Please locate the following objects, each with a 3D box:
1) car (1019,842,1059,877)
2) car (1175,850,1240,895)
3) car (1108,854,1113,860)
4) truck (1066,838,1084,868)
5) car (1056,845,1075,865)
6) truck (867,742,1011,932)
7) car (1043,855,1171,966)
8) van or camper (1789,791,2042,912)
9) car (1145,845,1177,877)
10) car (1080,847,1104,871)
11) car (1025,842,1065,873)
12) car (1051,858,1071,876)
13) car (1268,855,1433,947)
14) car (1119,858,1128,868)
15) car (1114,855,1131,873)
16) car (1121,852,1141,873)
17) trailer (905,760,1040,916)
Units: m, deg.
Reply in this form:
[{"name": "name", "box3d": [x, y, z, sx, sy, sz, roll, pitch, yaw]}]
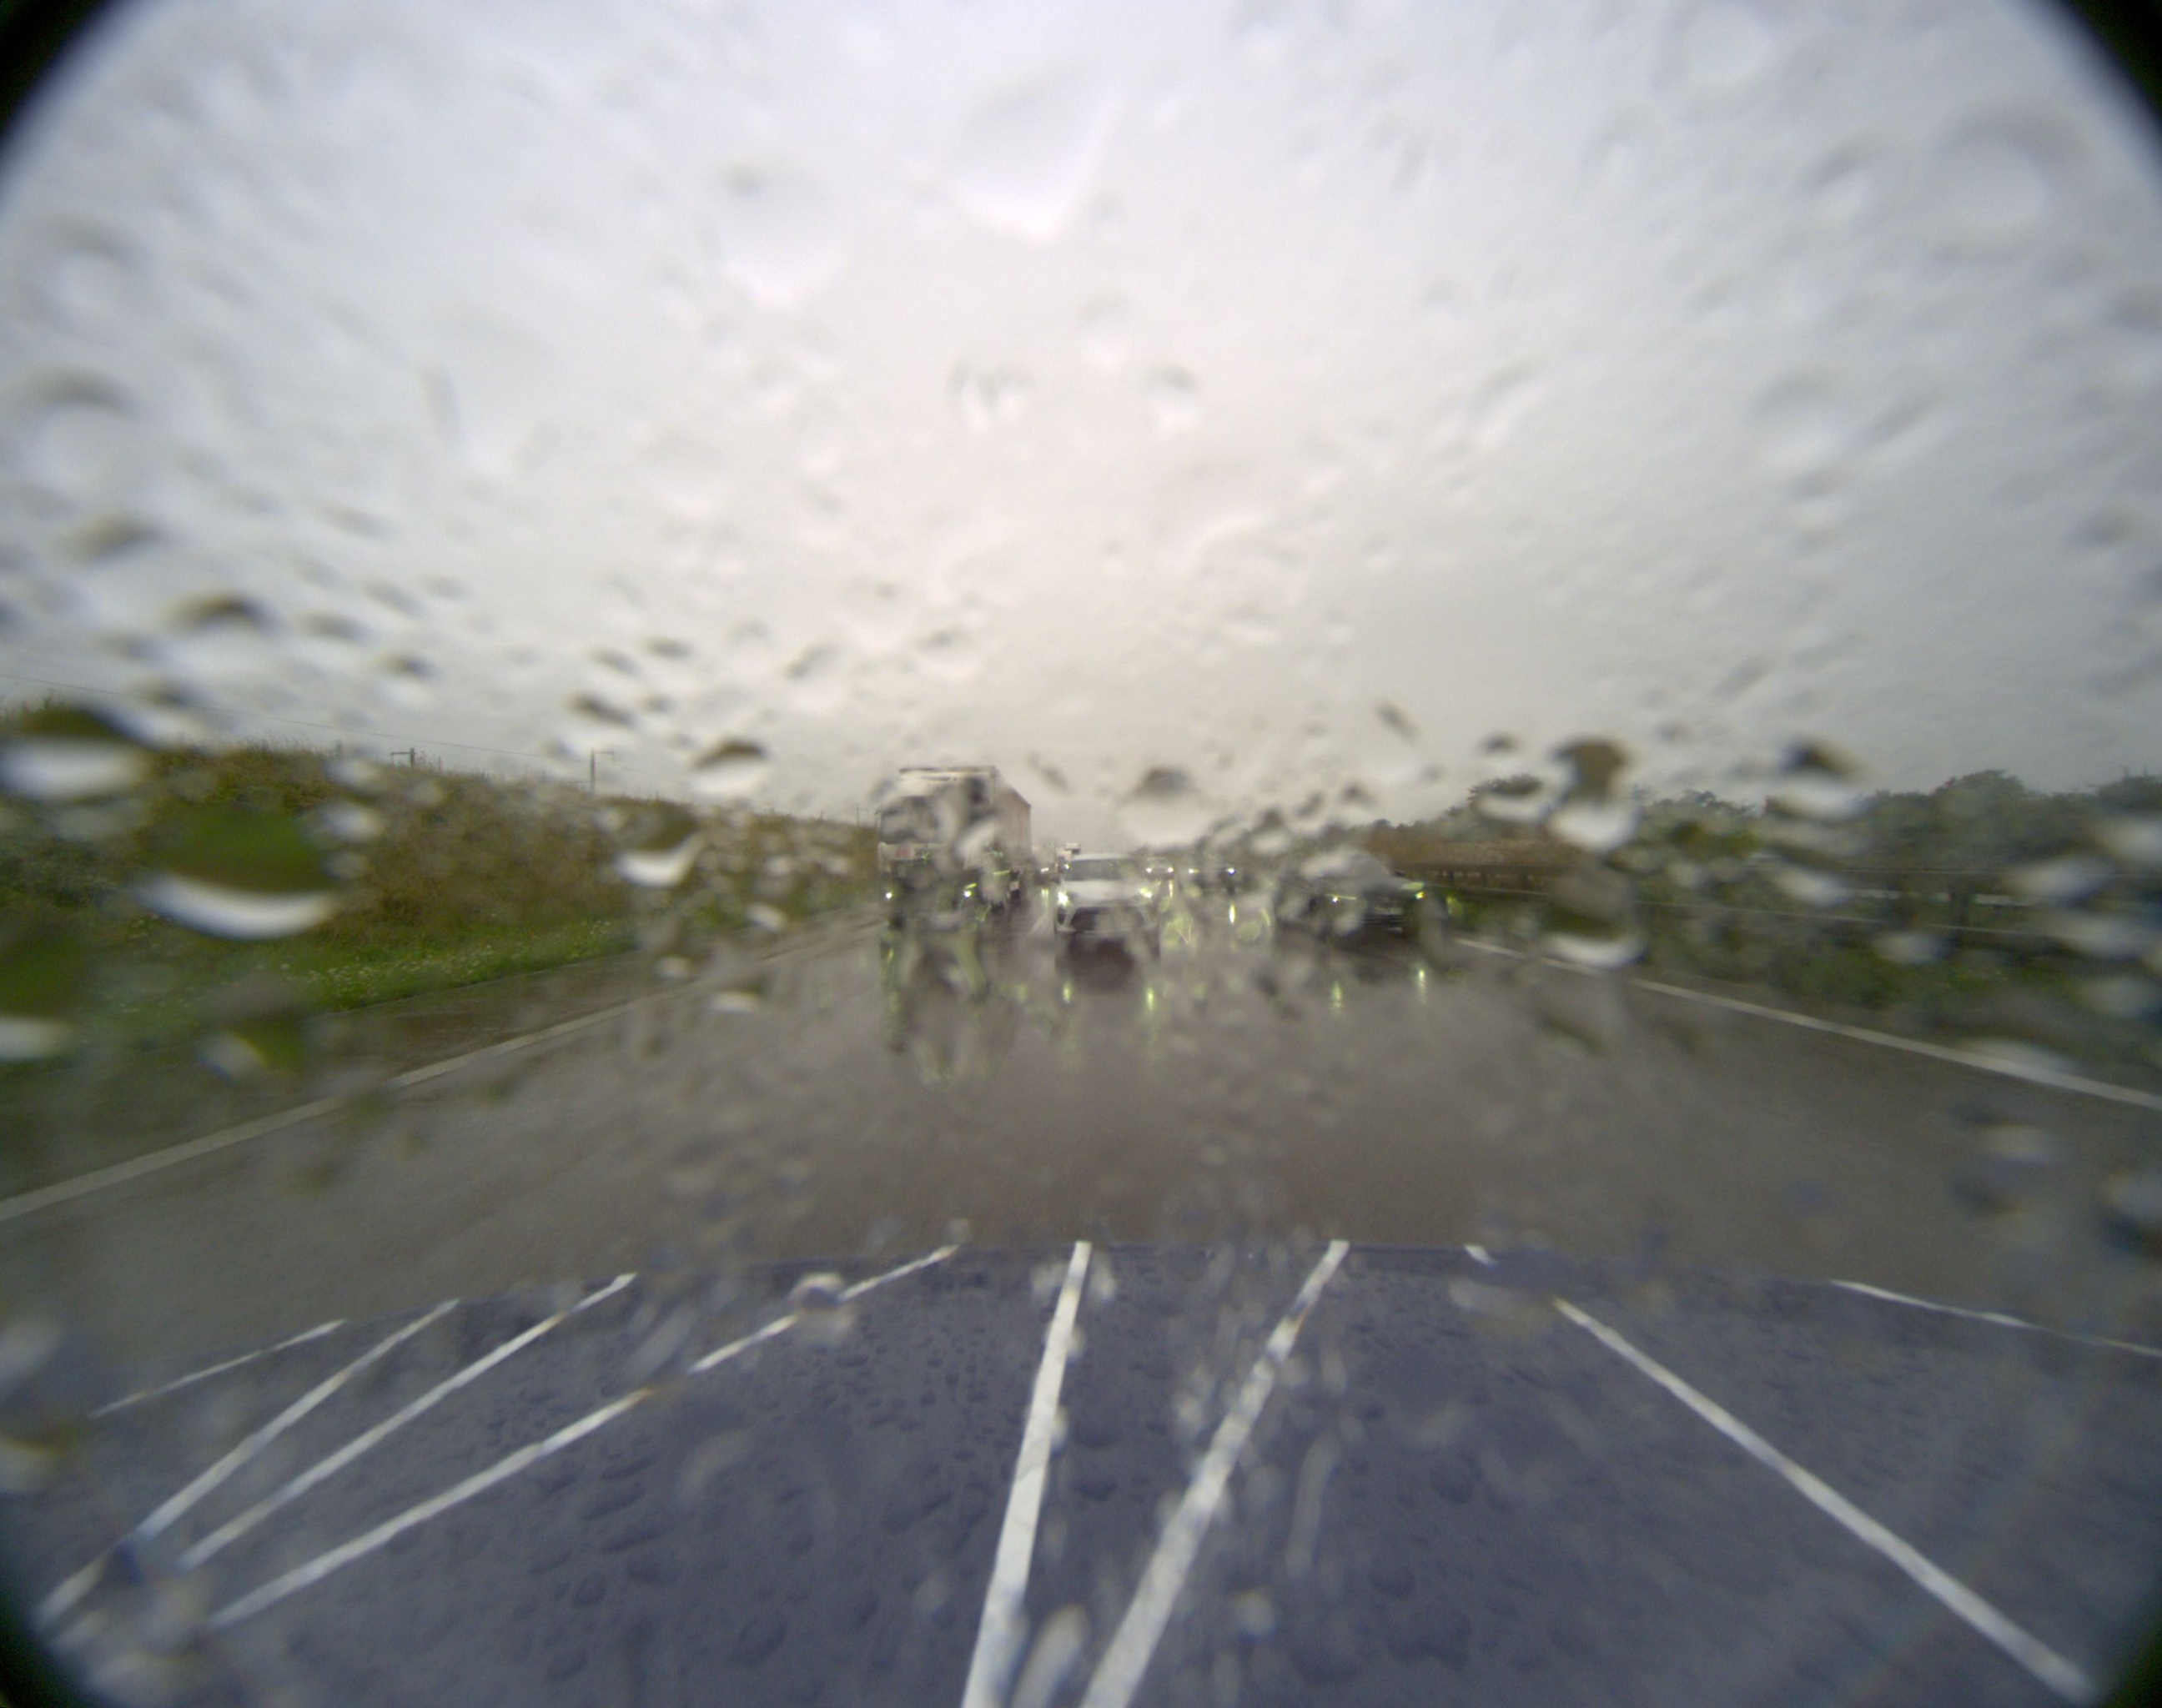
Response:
[{"name": "car", "box3d": [-2.528, 0.289, 47.193, 1.946, 2.002, 4.446, -2, 1, 3]}, {"name": "car", "box3d": [4.958, 0.669, 30.381, 1.889, 1.622, 4.269, -2, 0, 0]}, {"name": "car", "box3d": [8.091, 0.824, 211.003, 1.279, 1.567, 2.848, -2, 0, 0]}, {"name": "truck", "box3d": [-0.925, -0.100, 120.609, 2.628, 4.635, 4.290, -2, 0, 1]}, {"name": "car", "box3d": [-1.735, 0.111, 88.618, 1.998, 2.231, 4.000, -2, 0, 1]}, {"name": "truck", "box3d": [-3.463, -0.407, 19.832, 2.633, 4.229, 5.042, -2, 1, 0]}, {"name": "car", "box3d": [0.416, 0.859, 13.512, 1.893, 1.578, 3.999, -2, 1, 1]}, {"name": "van or camper", "box3d": [16.948, -0.051, 15.702, 1.364, 2.168, 3.525, -2, 0, 1]}, {"name": "car", "box3d": [5.196, 0.428, 49.834, 1.888, 2.002, 4.270, -2, 0, 4]}, {"name": "car", "box3d": [0.975, 0.438, 66.087, 1.998, 2.002, 4.000, -2, 0, 2]}, {"name": "car", "box3d": [-2.476, 0.202, 53.579, 2.260, 2.002, 4.269, -2, 1, 4]}, {"name": "car", "box3d": [-2.112, 1.379, 82.232, 1.998, 1.805, 4.000, -2, 0, 1]}, {"name": "car", "box3d": [4.876, 0.759, 14.414, 1.613, 1.428, 4.370, -2, 0, 1]}, {"name": "car", "box3d": [7.318, 1.490, 130.385, 1.458, 1.540, 2.804, 0, 2, 1]}, {"name": "car", "box3d": [4.944, 1.128, 90.730, 1.737, 2.002, 4.223, -2, 0, 1]}, {"name": "car", "box3d": [4.954, 0.791, 75.678, 1.737, 2.002, 4.223, -2, 0, 1]}, {"name": "trailer", "box3d": [-3.372, -0.520, 28.115, 2.633, 4.224, 14.174, -2, 1, 1]}]
